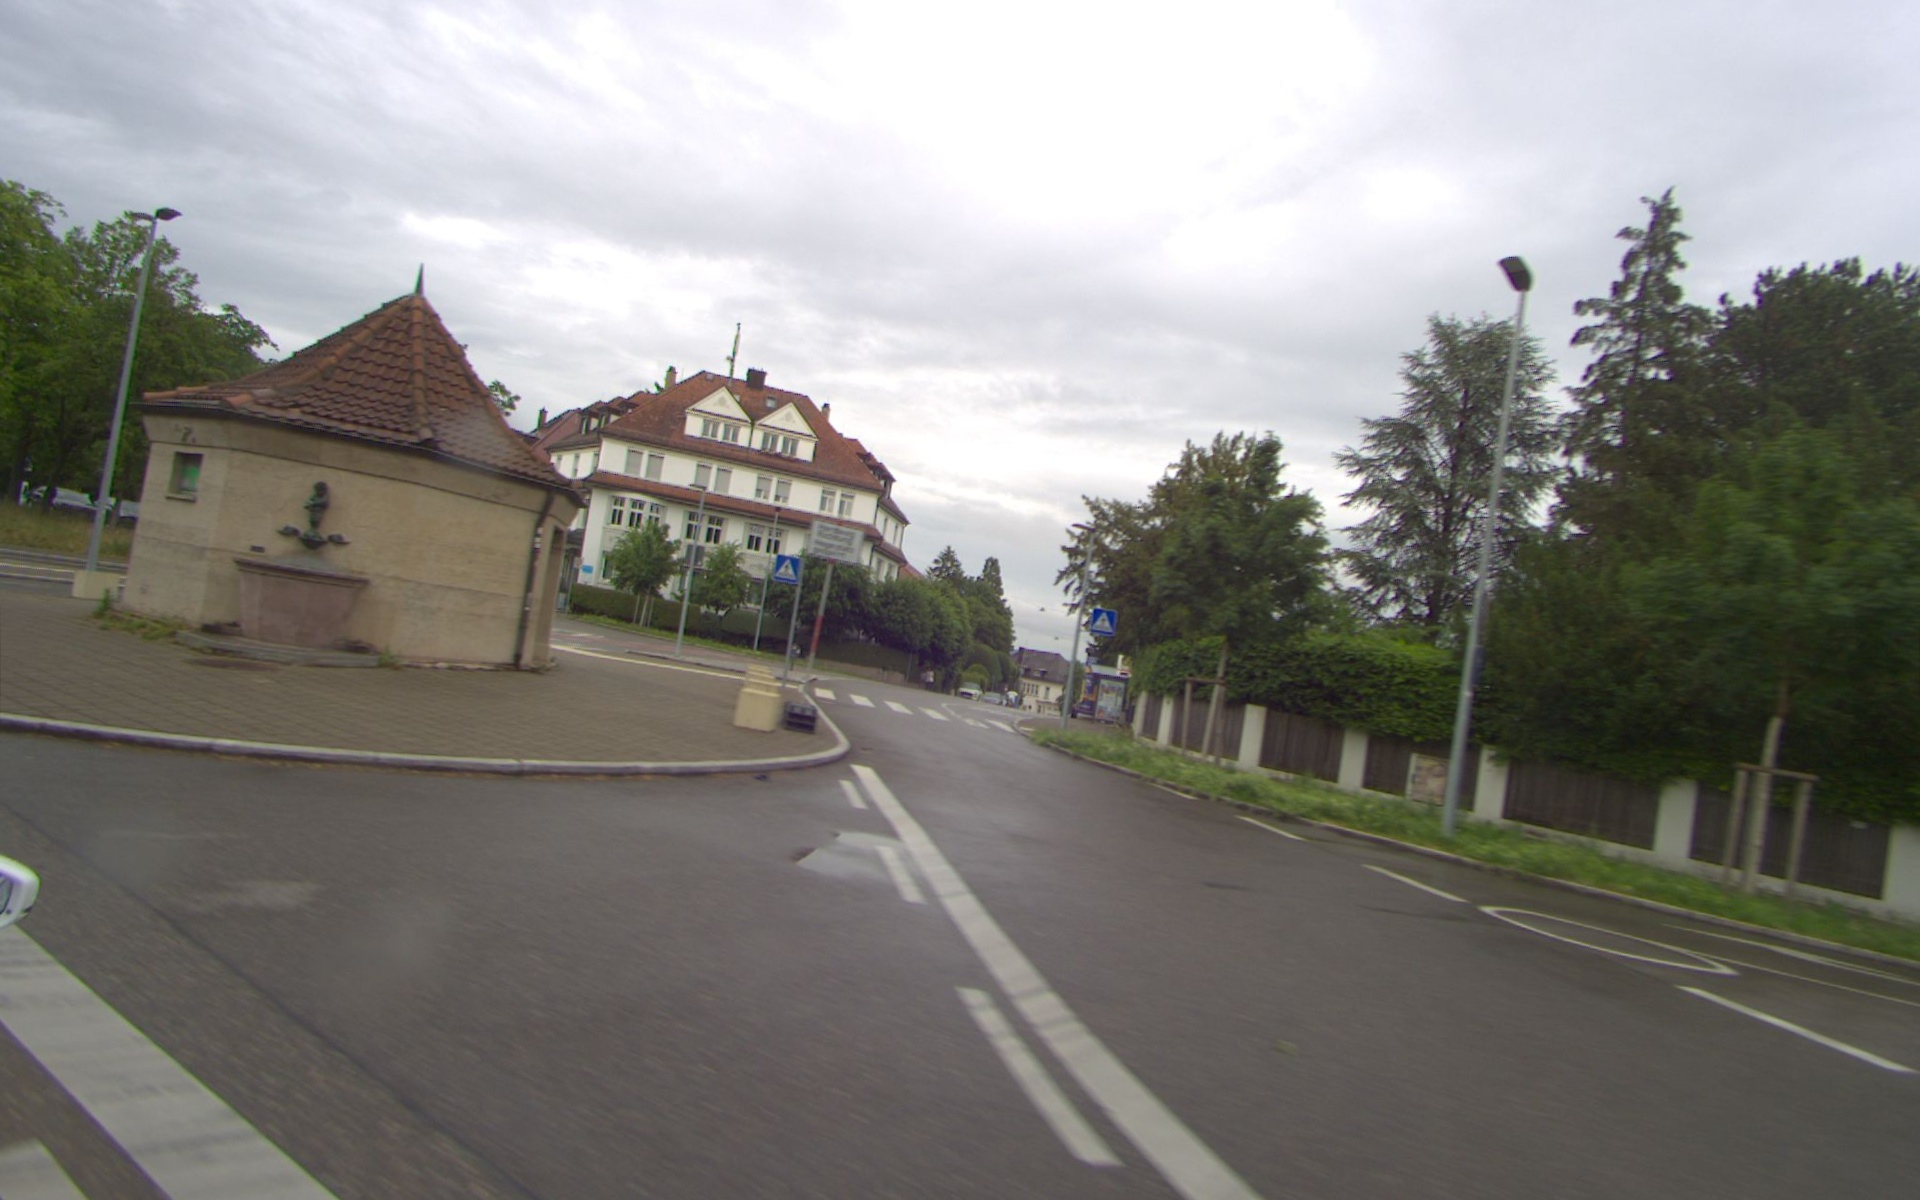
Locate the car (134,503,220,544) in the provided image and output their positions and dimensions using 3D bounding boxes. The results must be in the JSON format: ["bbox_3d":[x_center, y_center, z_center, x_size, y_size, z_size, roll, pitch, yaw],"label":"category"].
[{"bbox_3d":[-40.424,-3.957,51.925,3.998,1.495,1.893,7,-4,28],"label":"car"}]

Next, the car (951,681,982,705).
[{"bbox_3d":[0.526,7.036,75.969,1.963,1.494,4.010,9,-5,4],"label":"car"}]

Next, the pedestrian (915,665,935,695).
[{"bbox_3d":[-2.324,5.323,66.852,0.806,1.855,0.697,8,-4,18],"label":"pedestrian"}]

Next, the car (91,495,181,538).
[{"bbox_3d":[-39.878,-4.031,48.692,3.998,1.496,1.891,7,-2,28],"label":"car"}]
